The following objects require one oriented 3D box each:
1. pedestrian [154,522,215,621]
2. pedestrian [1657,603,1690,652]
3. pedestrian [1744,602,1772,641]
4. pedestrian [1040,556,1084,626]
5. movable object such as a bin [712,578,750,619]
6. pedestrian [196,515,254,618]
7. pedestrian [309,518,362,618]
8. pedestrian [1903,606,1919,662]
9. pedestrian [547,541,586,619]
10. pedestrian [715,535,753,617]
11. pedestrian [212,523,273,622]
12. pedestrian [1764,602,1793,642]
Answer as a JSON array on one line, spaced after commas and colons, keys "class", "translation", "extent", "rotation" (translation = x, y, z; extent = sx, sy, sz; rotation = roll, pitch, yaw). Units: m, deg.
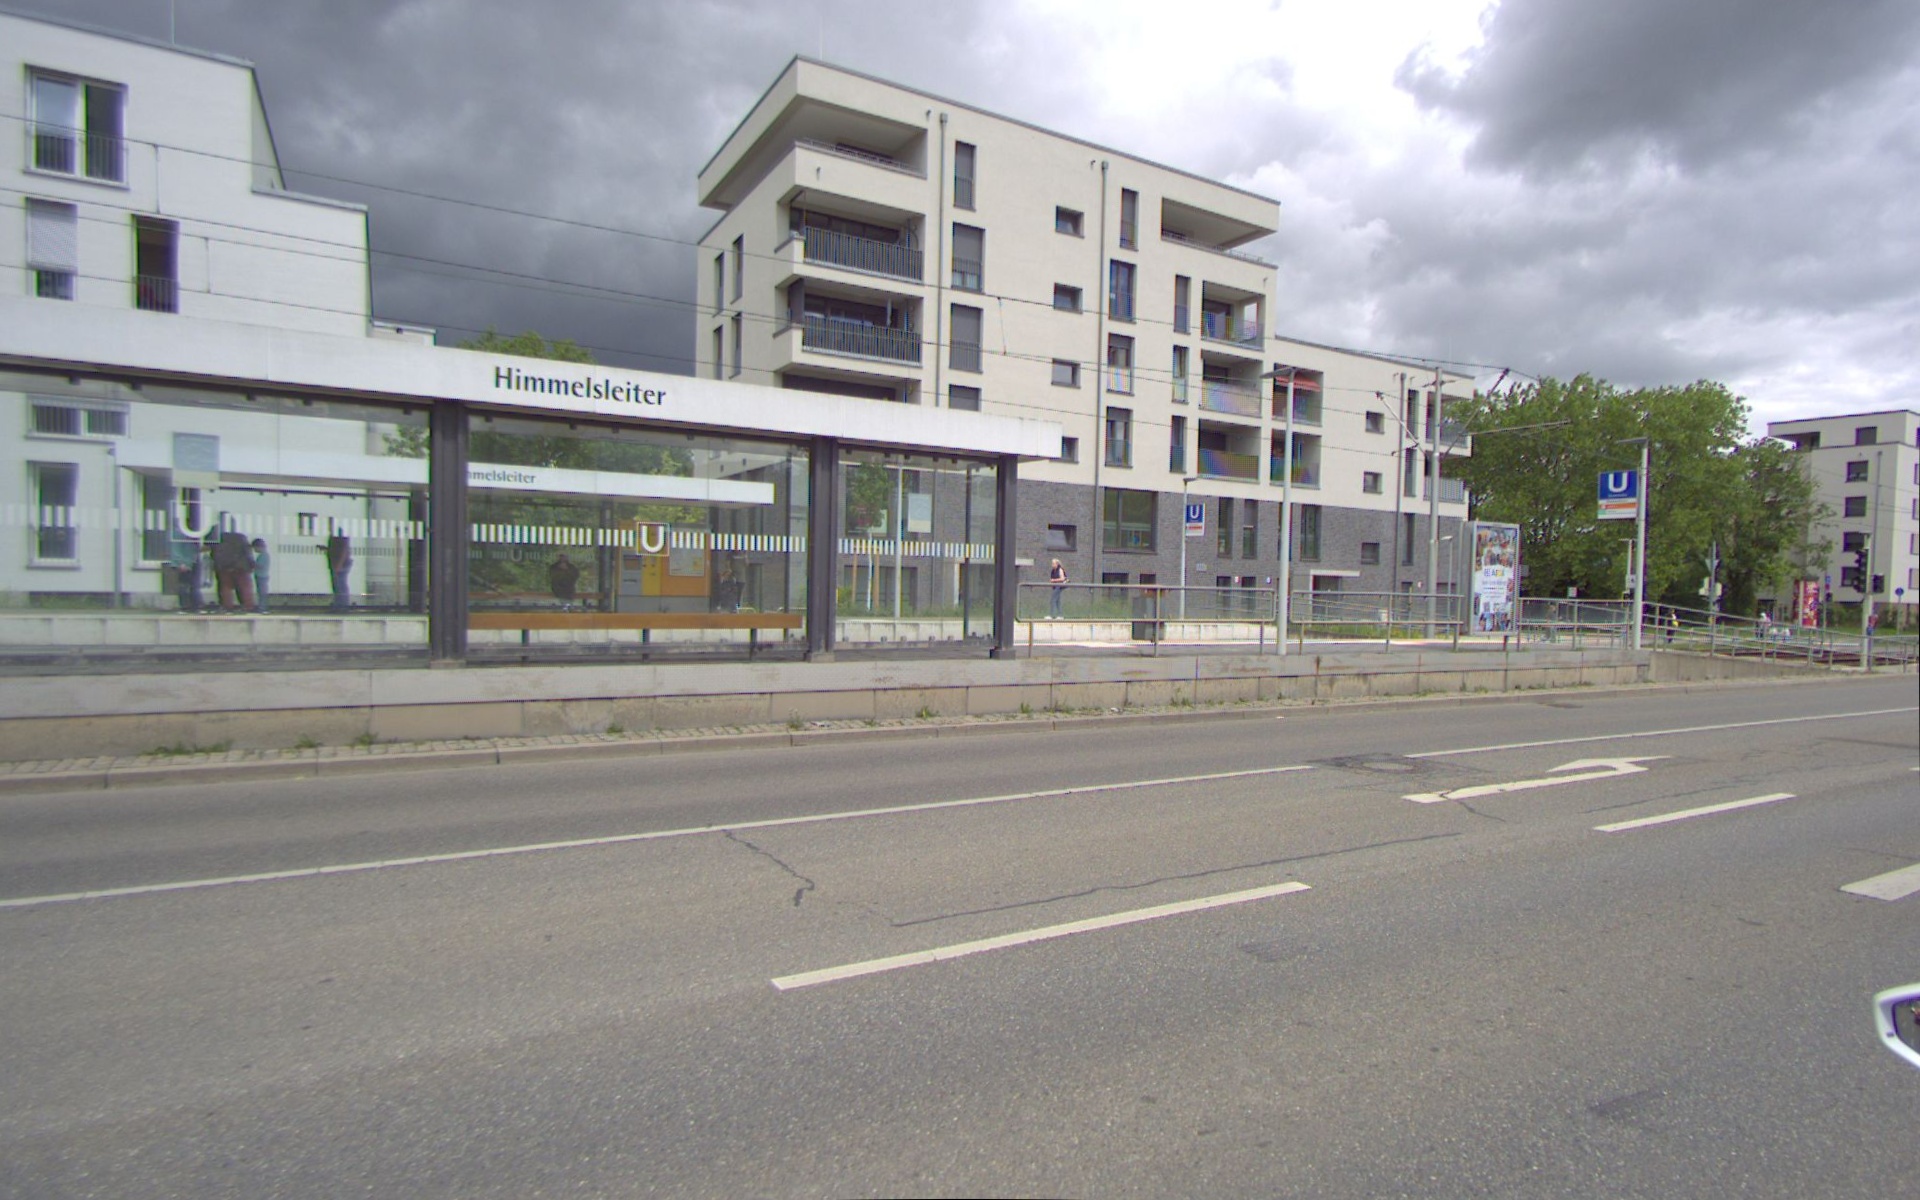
[{"class": "pedestrian", "translation": [-12.934, -0.473, 16.761], "extent": [0.664, 1.618, 0.489], "rotation": [1, 1, 13]}, {"class": "pedestrian", "translation": [33.290, 1.254, 46.865], "extent": [0.872, 2.234, 0.910], "rotation": [0, 2, -31]}, {"class": "pedestrian", "translation": [44.796, 1.184, 56.360], "extent": [0.924, 2.162, 0.910], "rotation": [0, 2, -31]}, {"class": "pedestrian", "translation": [2.675, -0.242, 26.370], "extent": [0.923, 1.789, 0.671], "rotation": [0, 2, -32]}, {"class": "movable object such as a bin", "translation": [-4.938, -0.036, 21.651], "extent": [0.669, 0.861, 0.559], "rotation": [0, 1, -29]}, {"class": "pedestrian", "translation": [-12.783, -0.574, 17.477], "extent": [0.480, 1.748, 0.677], "rotation": [2, 1, 25]}, {"class": "pedestrian", "translation": [-11.479, -0.582, 18.463], "extent": [0.664, 1.789, 0.489], "rotation": [1, 1, 4]}, {"class": "pedestrian", "translation": [29.261, 1.038, 30.407], "extent": [0.675, 1.691, 0.816], "rotation": [0, 2, -29]}, {"class": "pedestrian", "translation": [-8.161, -0.407, 20.821], "extent": [0.669, 1.575, 0.559], "rotation": [0, 2, -29]}, {"class": "pedestrian", "translation": [-4.986, -0.522, 22.171], "extent": [0.669, 1.789, 0.559], "rotation": [0, 2, -29]}, {"class": "pedestrian", "translation": [-11.973, -0.452, 16.770], "extent": [0.664, 1.618, 0.489], "rotation": [1, 1, 4]}, {"class": "pedestrian", "translation": [45.238, 1.190, 55.497], "extent": [0.924, 2.162, 0.910], "rotation": [0, 2, -31]}]
